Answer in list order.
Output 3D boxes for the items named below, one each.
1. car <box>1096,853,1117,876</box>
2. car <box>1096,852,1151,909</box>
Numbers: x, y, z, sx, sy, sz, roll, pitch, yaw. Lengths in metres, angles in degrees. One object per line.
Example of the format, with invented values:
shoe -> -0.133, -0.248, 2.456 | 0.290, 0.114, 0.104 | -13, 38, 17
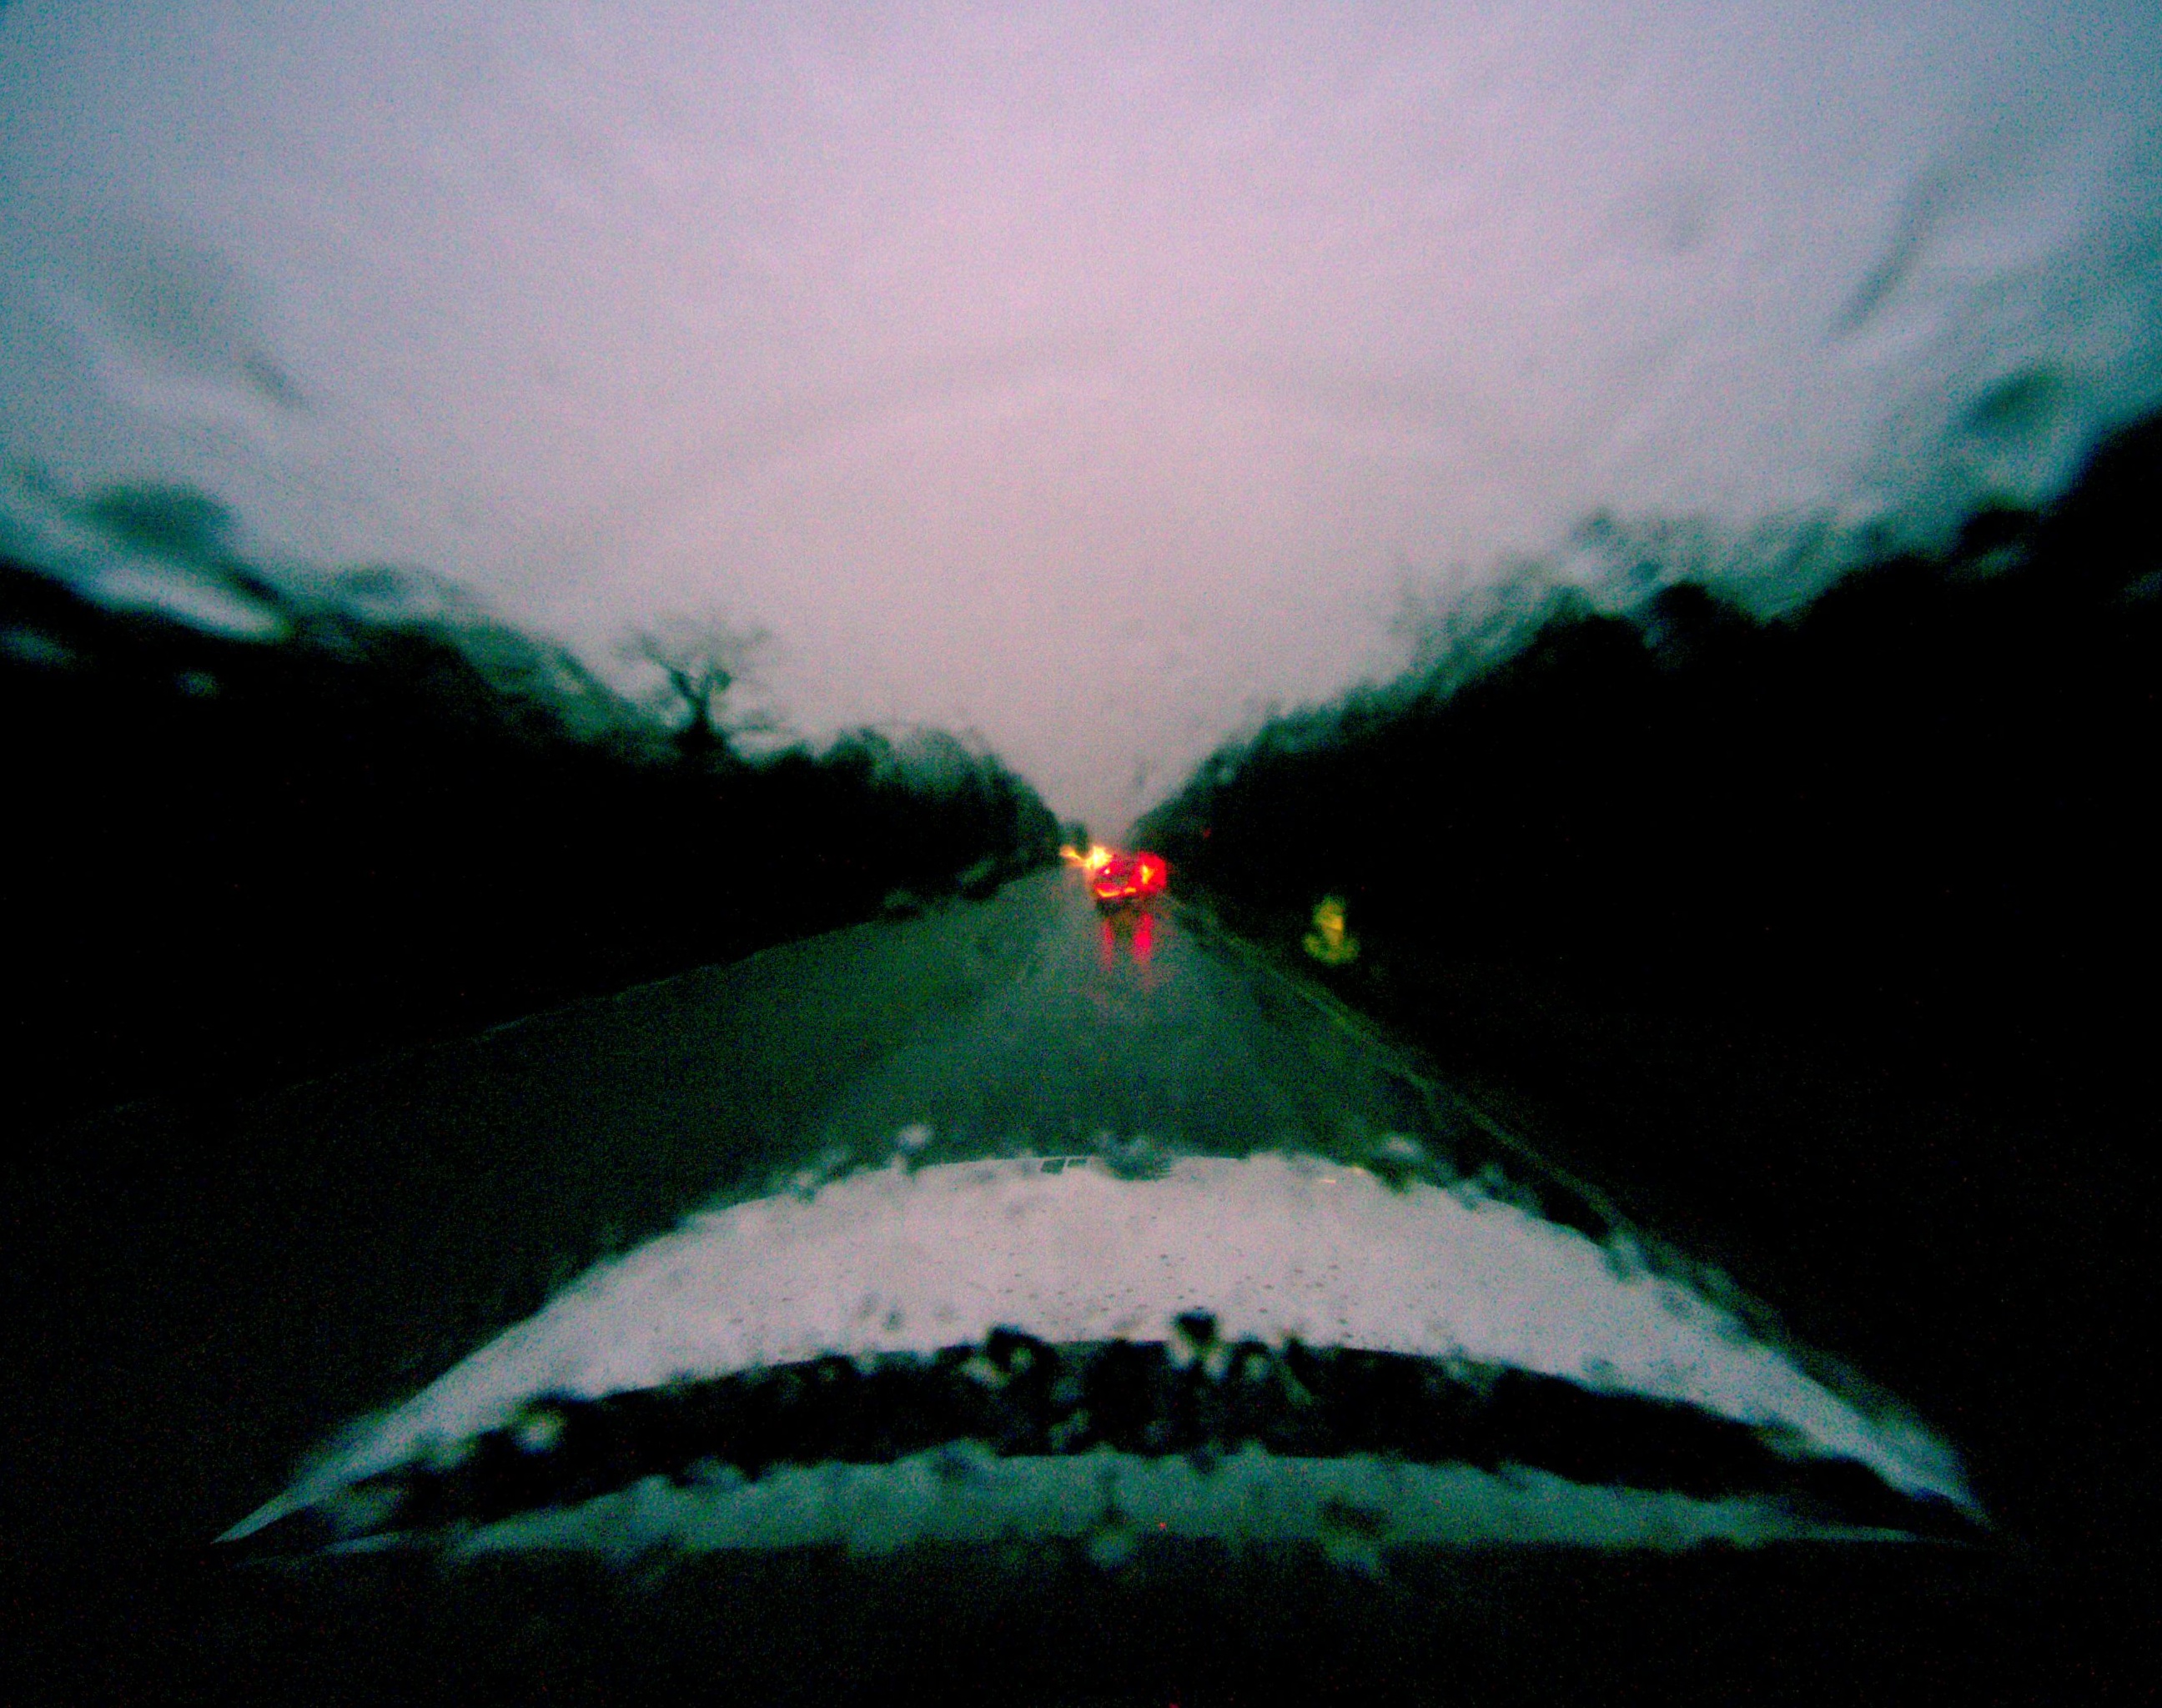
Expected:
car -> 2.085, 0.826, 66.801 | 1.726, 1.779, 4.001 | -1, 0, 2
car -> 1.324, 0.793, 25.982 | 1.642, 1.672, 3.515 | -1, 0, 2
